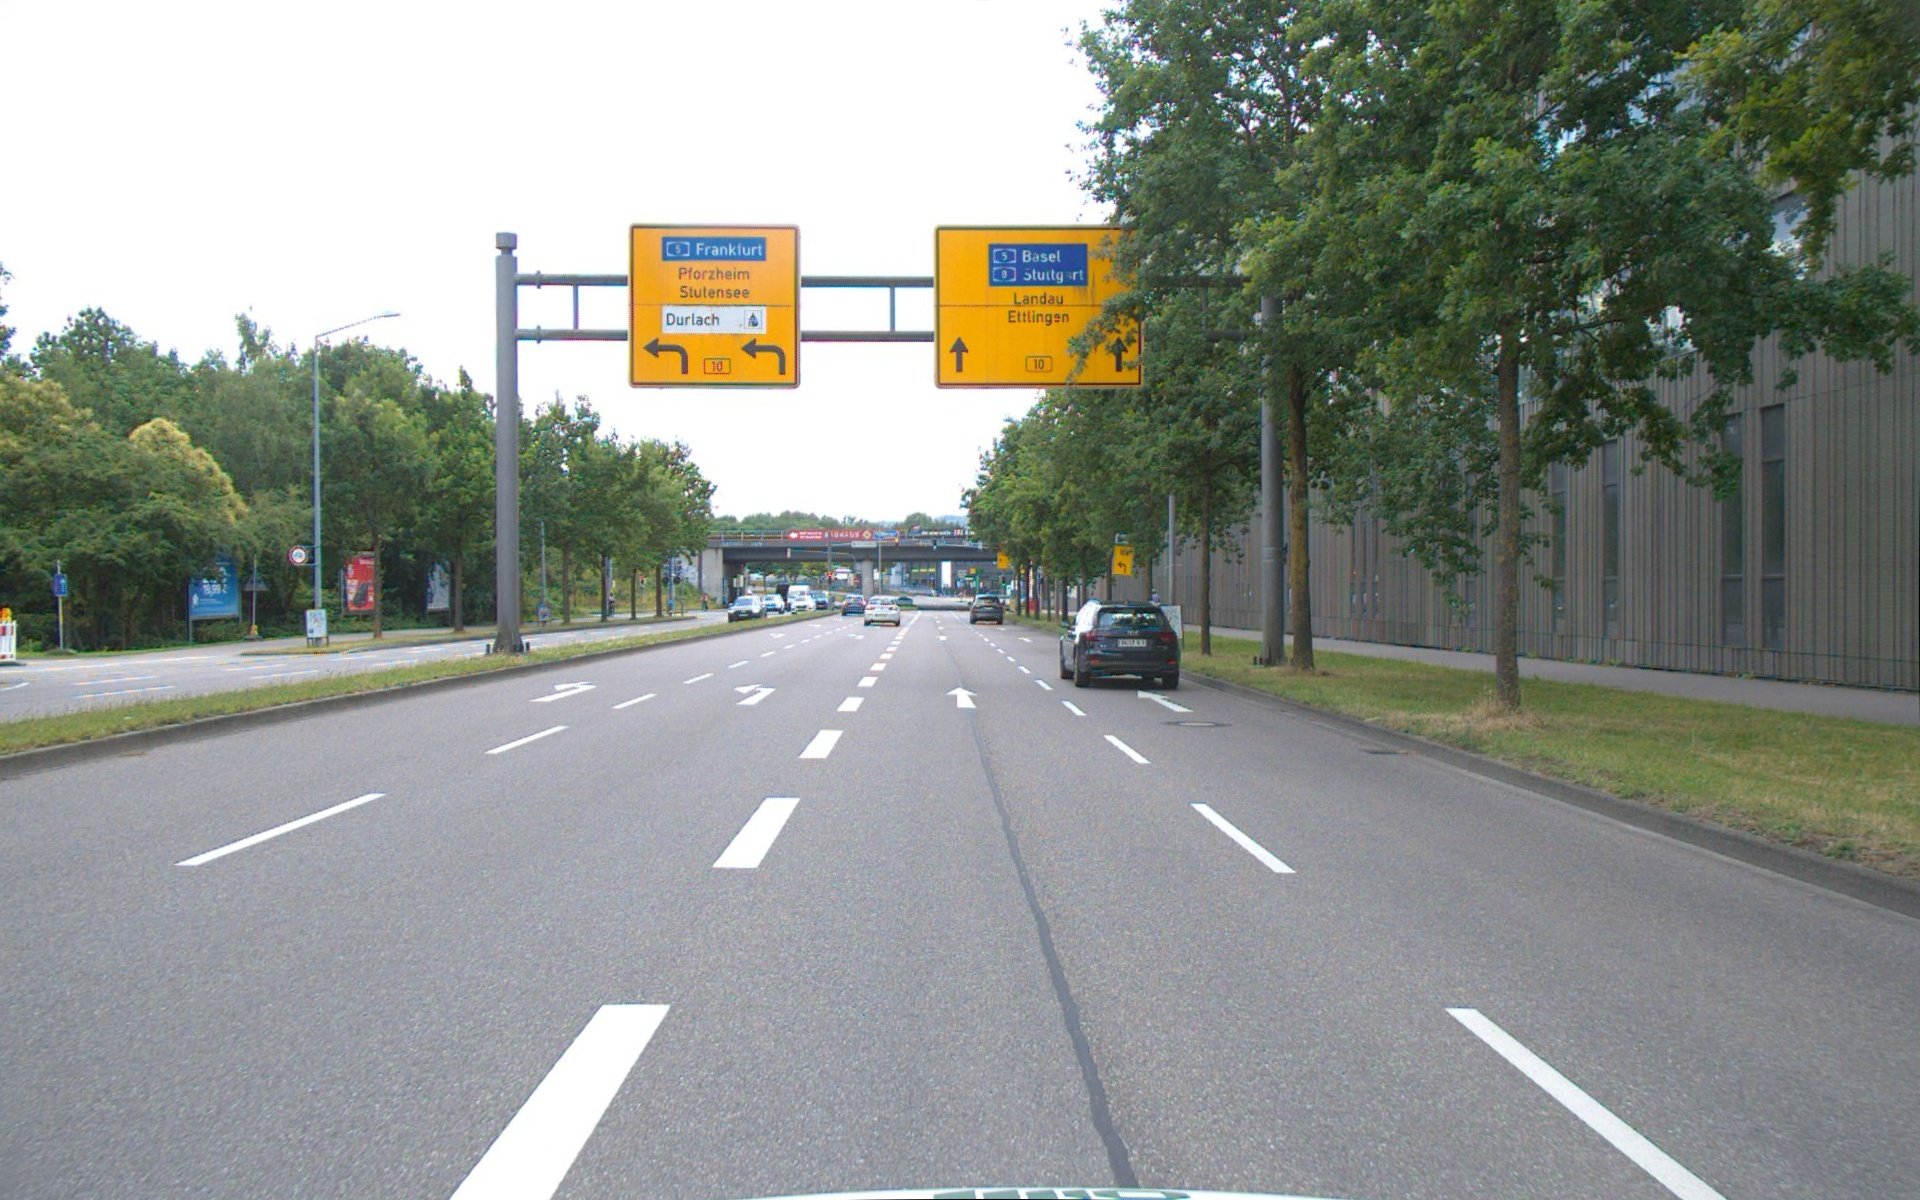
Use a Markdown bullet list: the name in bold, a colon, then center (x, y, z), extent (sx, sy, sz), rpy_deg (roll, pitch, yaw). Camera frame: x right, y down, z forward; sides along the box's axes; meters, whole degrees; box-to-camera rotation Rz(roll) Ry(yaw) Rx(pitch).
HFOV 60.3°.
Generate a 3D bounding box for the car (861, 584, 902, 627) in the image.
- **car**: center (-3.959, 0.250, 82.615), extent (1.954, 2.049, 3.997), rpy_deg (1, 0, -4)

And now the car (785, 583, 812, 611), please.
- **car**: center (-16.326, -0.258, 167.215), extent (1.952, 2.686, 5.237), rpy_deg (1, -1, 2)

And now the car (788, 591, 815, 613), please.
- **car**: center (-13.114, 0.159, 136.943), extent (1.953, 1.747, 3.999), rpy_deg (1, -1, -1)

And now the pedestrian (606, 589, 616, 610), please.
- **pedestrian**: center (-24.689, -0.029, 117.044), extent (0.547, 1.425, 0.563), rpy_deg (1, -1, -2)

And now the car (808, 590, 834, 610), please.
- **car**: center (-13.088, 0.017, 156.082), extent (1.952, 1.747, 4.000), rpy_deg (1, -1, 2)

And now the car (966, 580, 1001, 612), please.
- **car**: center (1.343, -0.234, 94.592), extent (1.952, 1.654, 4.310), rpy_deg (-2, 1, 1)

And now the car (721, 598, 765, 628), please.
- **car**: center (-12.232, 0.717, 93.490), extent (1.953, 1.646, 4.000), rpy_deg (-1, 0, 0)

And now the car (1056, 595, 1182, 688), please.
- **car**: center (2.714, 0.666, 28.998), extent (1.650, 1.489, 3.998), rpy_deg (1, 0, -2)

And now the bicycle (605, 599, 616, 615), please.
- **bicycle**: center (-24.714, 0.523, 116.971), extent (0.450, 1.109, 1.473), rpy_deg (1, -1, -2)

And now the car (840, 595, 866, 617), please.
- **car**: center (-7.551, 0.438, 116.654), extent (1.739, 1.489, 3.997), rpy_deg (1, 0, -4)

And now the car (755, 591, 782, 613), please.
- **car**: center (-16.329, 0.214, 141.228), extent (1.953, 1.814, 3.998), rpy_deg (1, -1, -2)
